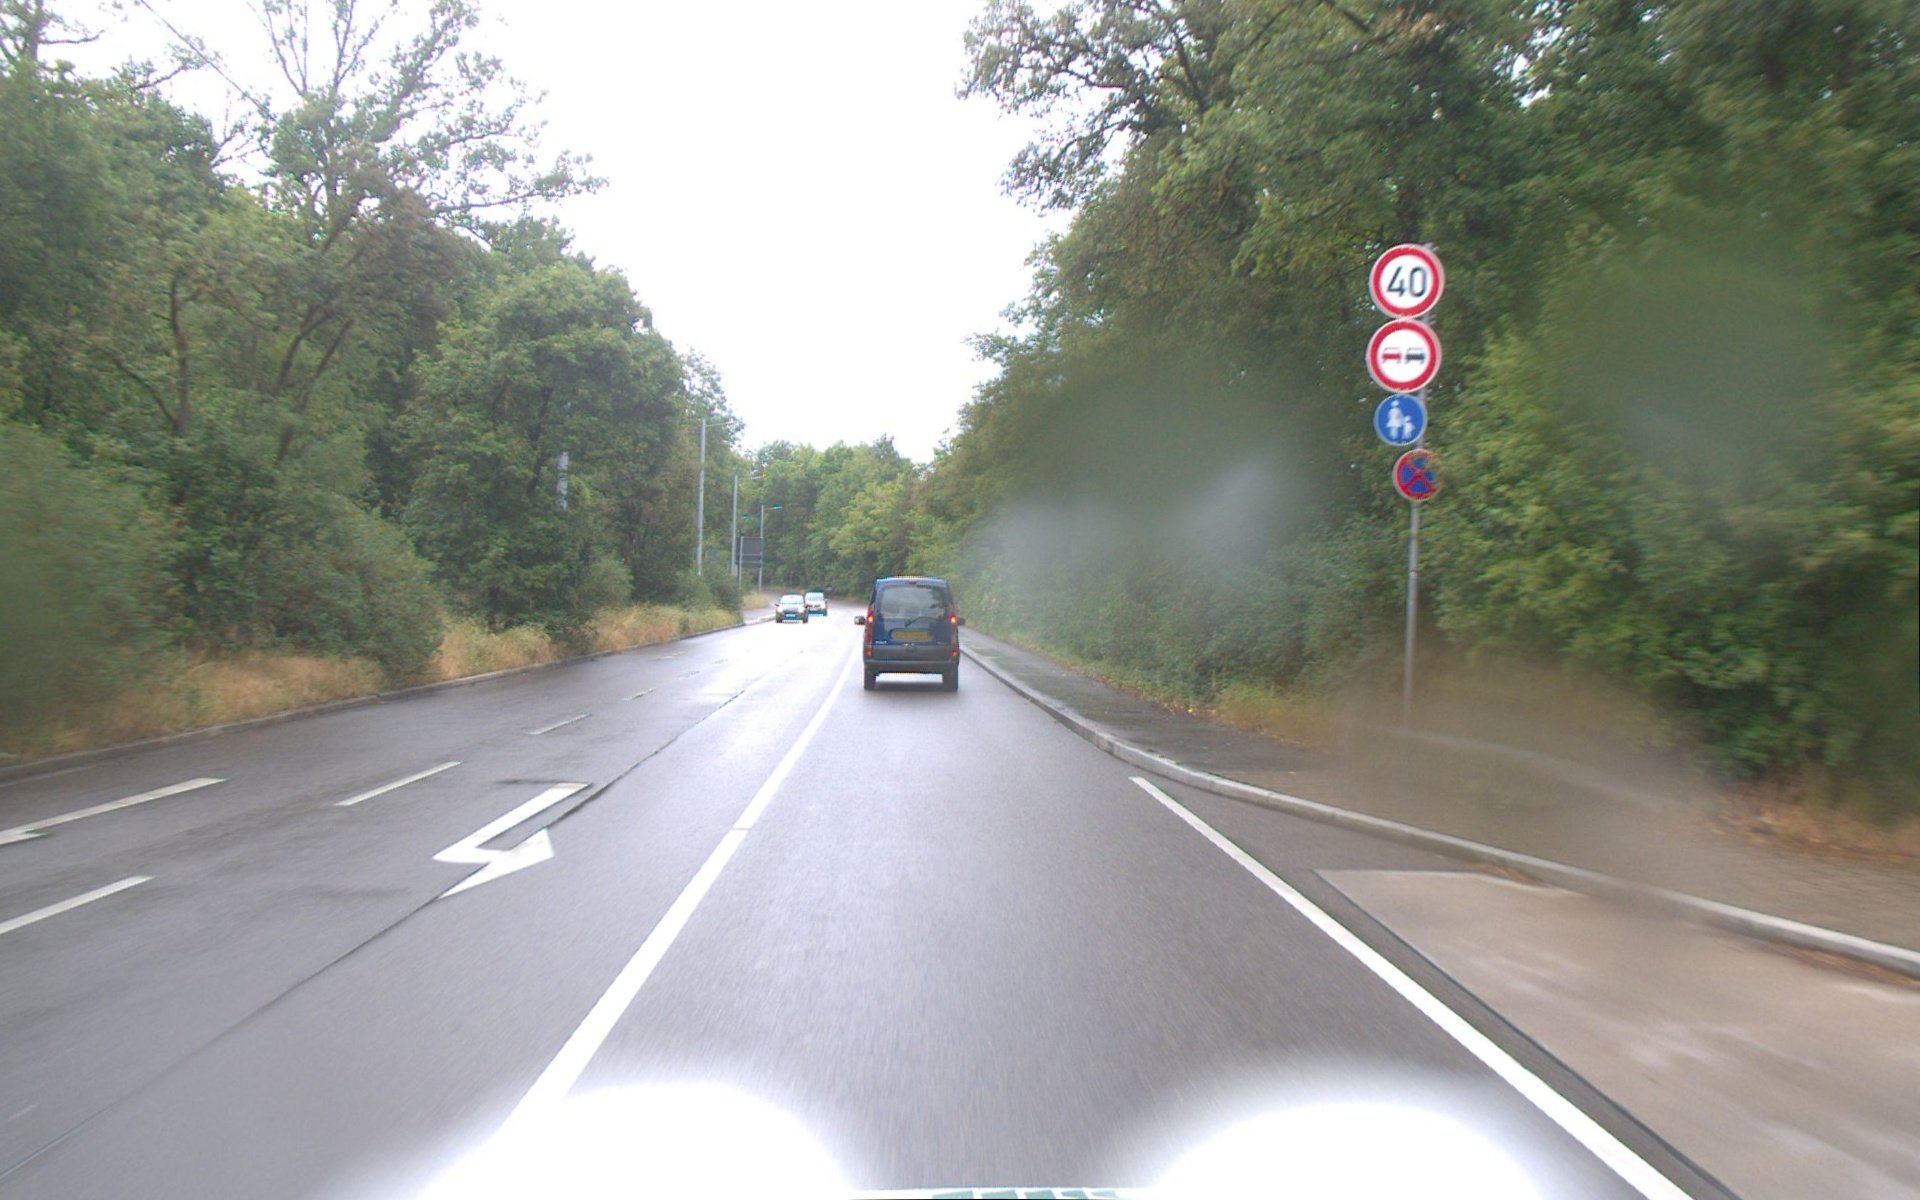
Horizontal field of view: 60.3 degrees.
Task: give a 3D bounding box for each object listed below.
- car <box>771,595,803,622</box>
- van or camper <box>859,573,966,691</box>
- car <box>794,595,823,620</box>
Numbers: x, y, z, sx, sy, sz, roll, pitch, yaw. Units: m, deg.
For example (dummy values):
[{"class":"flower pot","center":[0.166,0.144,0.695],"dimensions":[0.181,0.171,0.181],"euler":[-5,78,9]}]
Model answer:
[{"class":"car","center":[-9.545,0.449,91.415],"dimensions":[1.567,1.466,3.988],"euler":[0,0,-3]},{"class":"van or camper","center":[-0.887,0.537,28.747],"dimensions":[1.679,1.858,3.997],"euler":[-1,-1,-4]},{"class":"car","center":[-10.488,0.507,114.750],"dimensions":[1.736,1.638,4.081],"euler":[2,0,-3]}]
